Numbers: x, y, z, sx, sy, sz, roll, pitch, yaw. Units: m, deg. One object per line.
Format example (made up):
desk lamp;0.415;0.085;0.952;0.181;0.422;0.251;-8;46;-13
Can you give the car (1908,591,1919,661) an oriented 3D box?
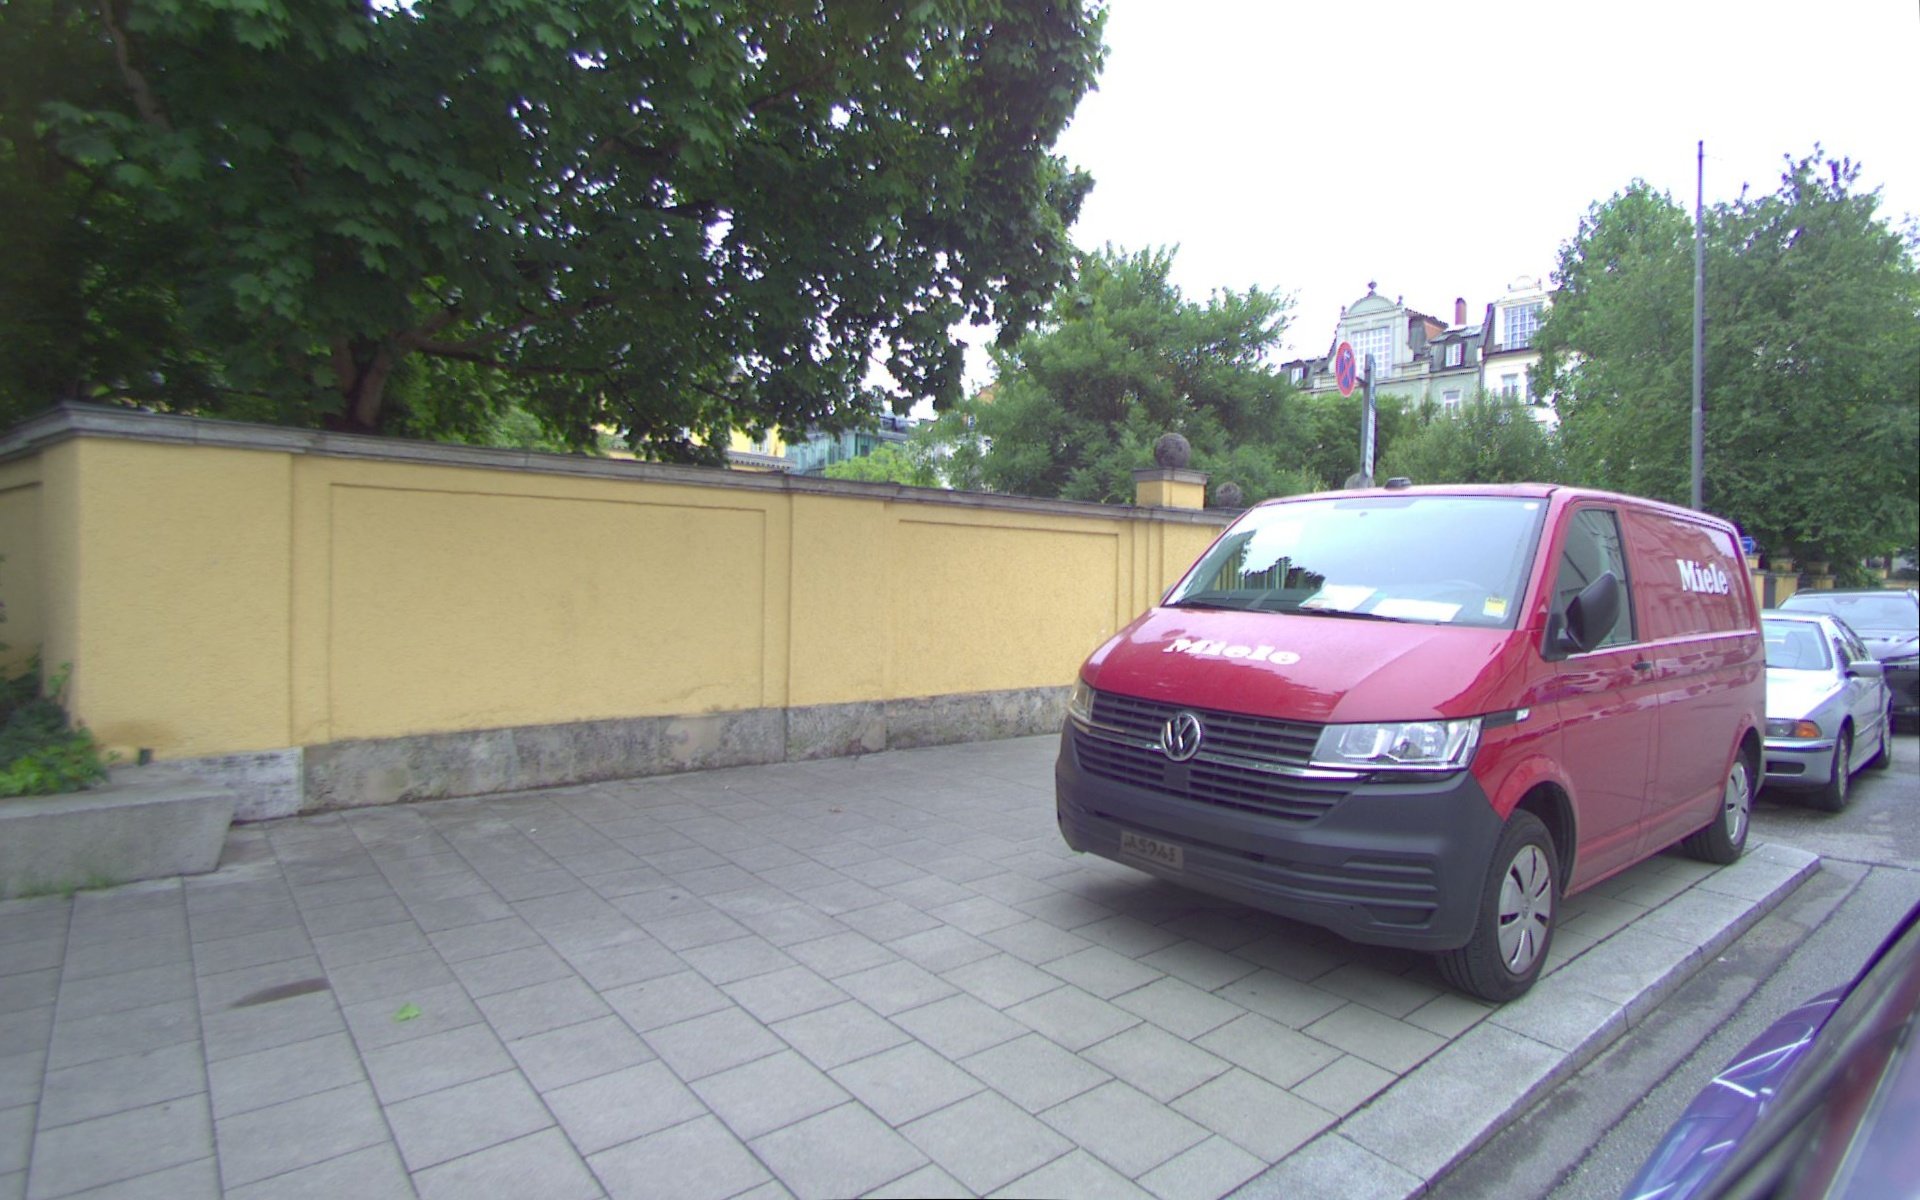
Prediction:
car;21.334;0.504;21.225;3.966;1.432;1.694;0;0;-41

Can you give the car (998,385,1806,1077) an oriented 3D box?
car;2.584;0.352;5.141;4.802;1.945;1.877;0;0;-41

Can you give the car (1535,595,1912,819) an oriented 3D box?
car;6.820;0.707;8.855;4.294;1.467;1.886;0;0;-43

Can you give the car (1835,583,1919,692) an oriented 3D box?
car;15.001;0.530;15.889;3.630;1.559;1.486;0;-1;-43

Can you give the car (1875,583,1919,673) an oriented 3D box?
car;18.282;0.484;18.751;2.817;1.586;1.511;0;-1;-39

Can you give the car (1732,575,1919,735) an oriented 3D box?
car;11.417;0.571;12.694;4.741;1.674;1.887;0;0;-42
